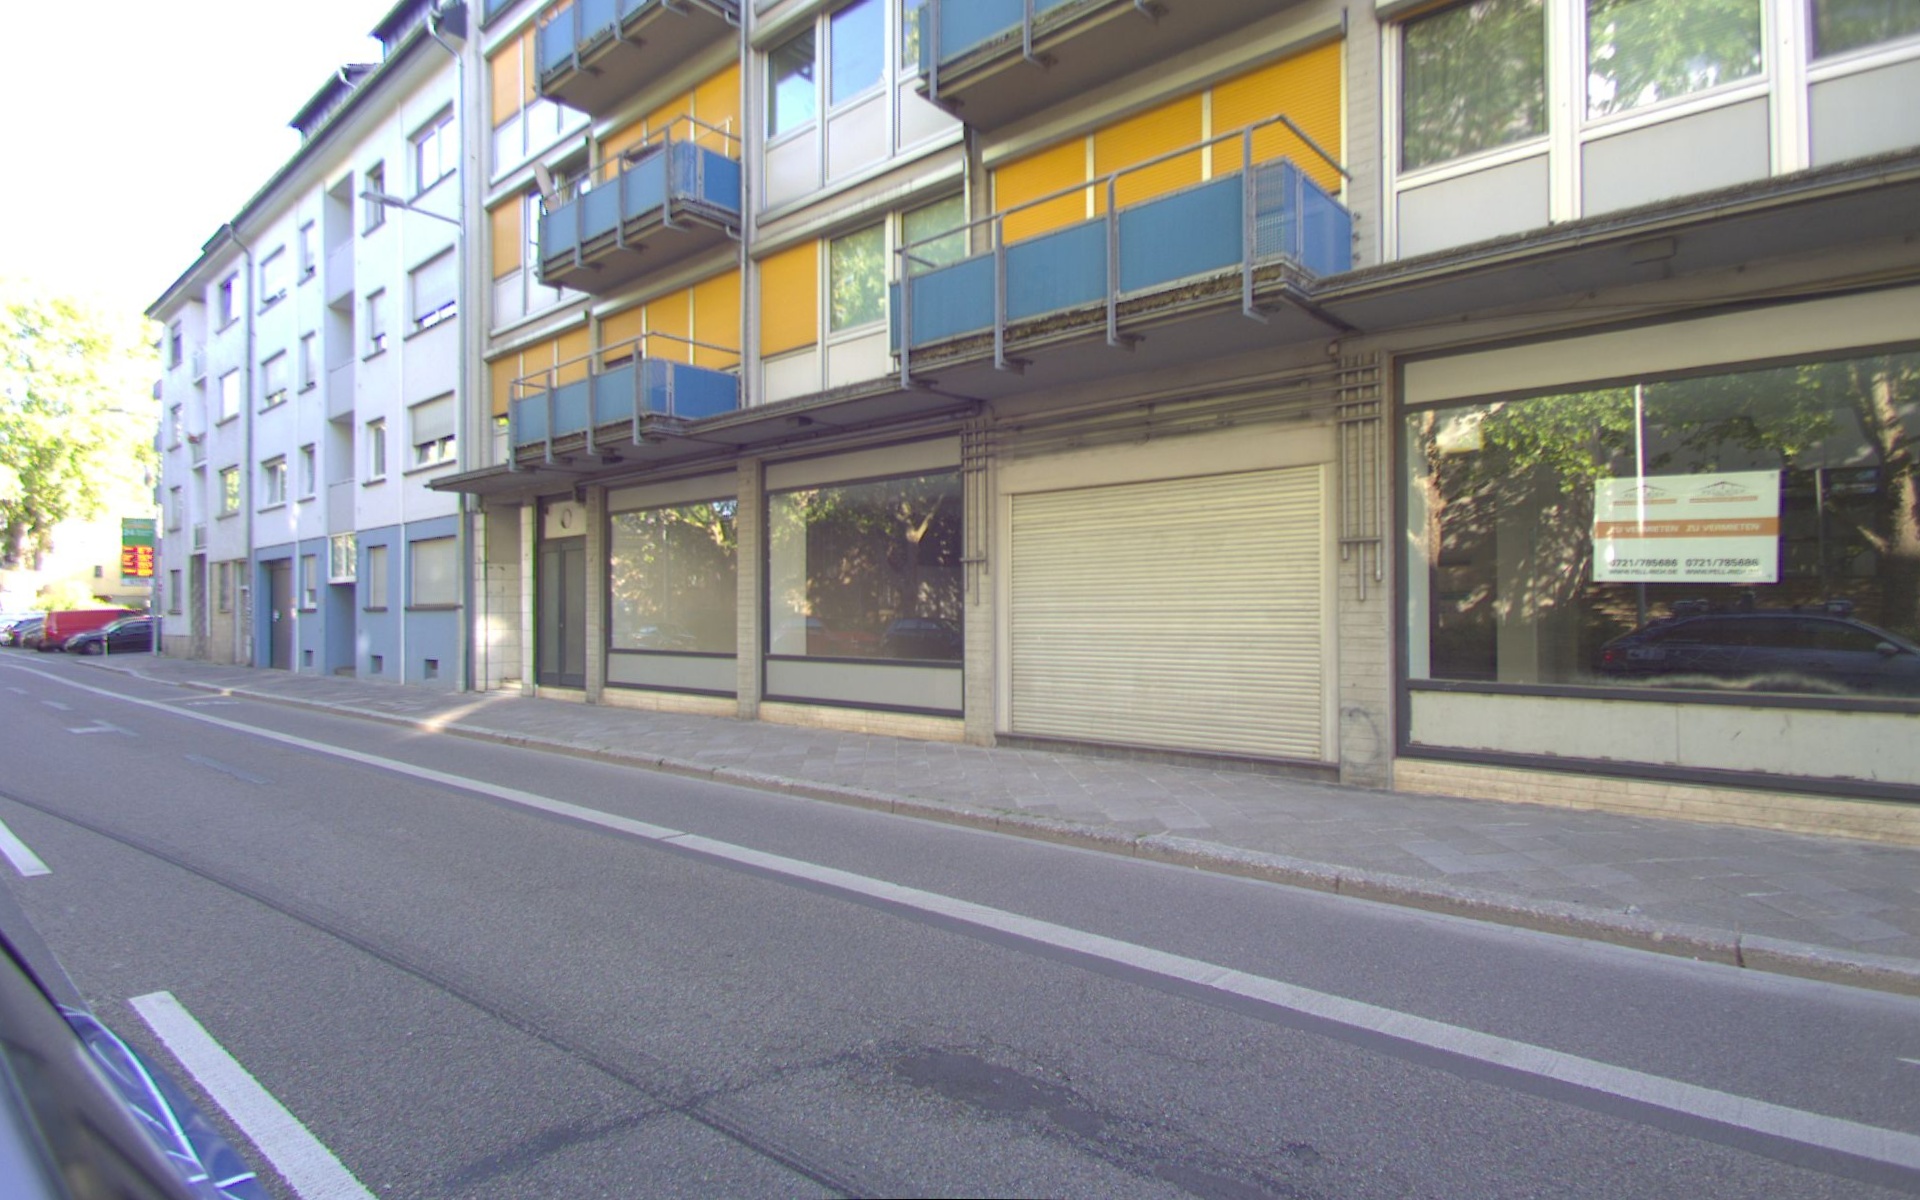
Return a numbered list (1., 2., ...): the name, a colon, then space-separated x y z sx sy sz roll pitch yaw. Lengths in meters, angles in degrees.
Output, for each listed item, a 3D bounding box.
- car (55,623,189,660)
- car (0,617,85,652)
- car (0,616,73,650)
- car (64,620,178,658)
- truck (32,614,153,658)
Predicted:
1. car: -36.494 1.790 44.161 1.657 1.417 4.269 -1 0 40
2. car: -56.059 2.061 61.473 2.000 1.971 4.180 -1 0 43
3. car: -59.343 2.090 64.403 2.000 2.052 4.180 -1 0 43
4. car: -38.045 1.727 45.944 1.657 1.583 3.762 -1 0 41
5. truck: -40.724 1.644 47.578 1.999 1.939 4.040 -1 0 40
